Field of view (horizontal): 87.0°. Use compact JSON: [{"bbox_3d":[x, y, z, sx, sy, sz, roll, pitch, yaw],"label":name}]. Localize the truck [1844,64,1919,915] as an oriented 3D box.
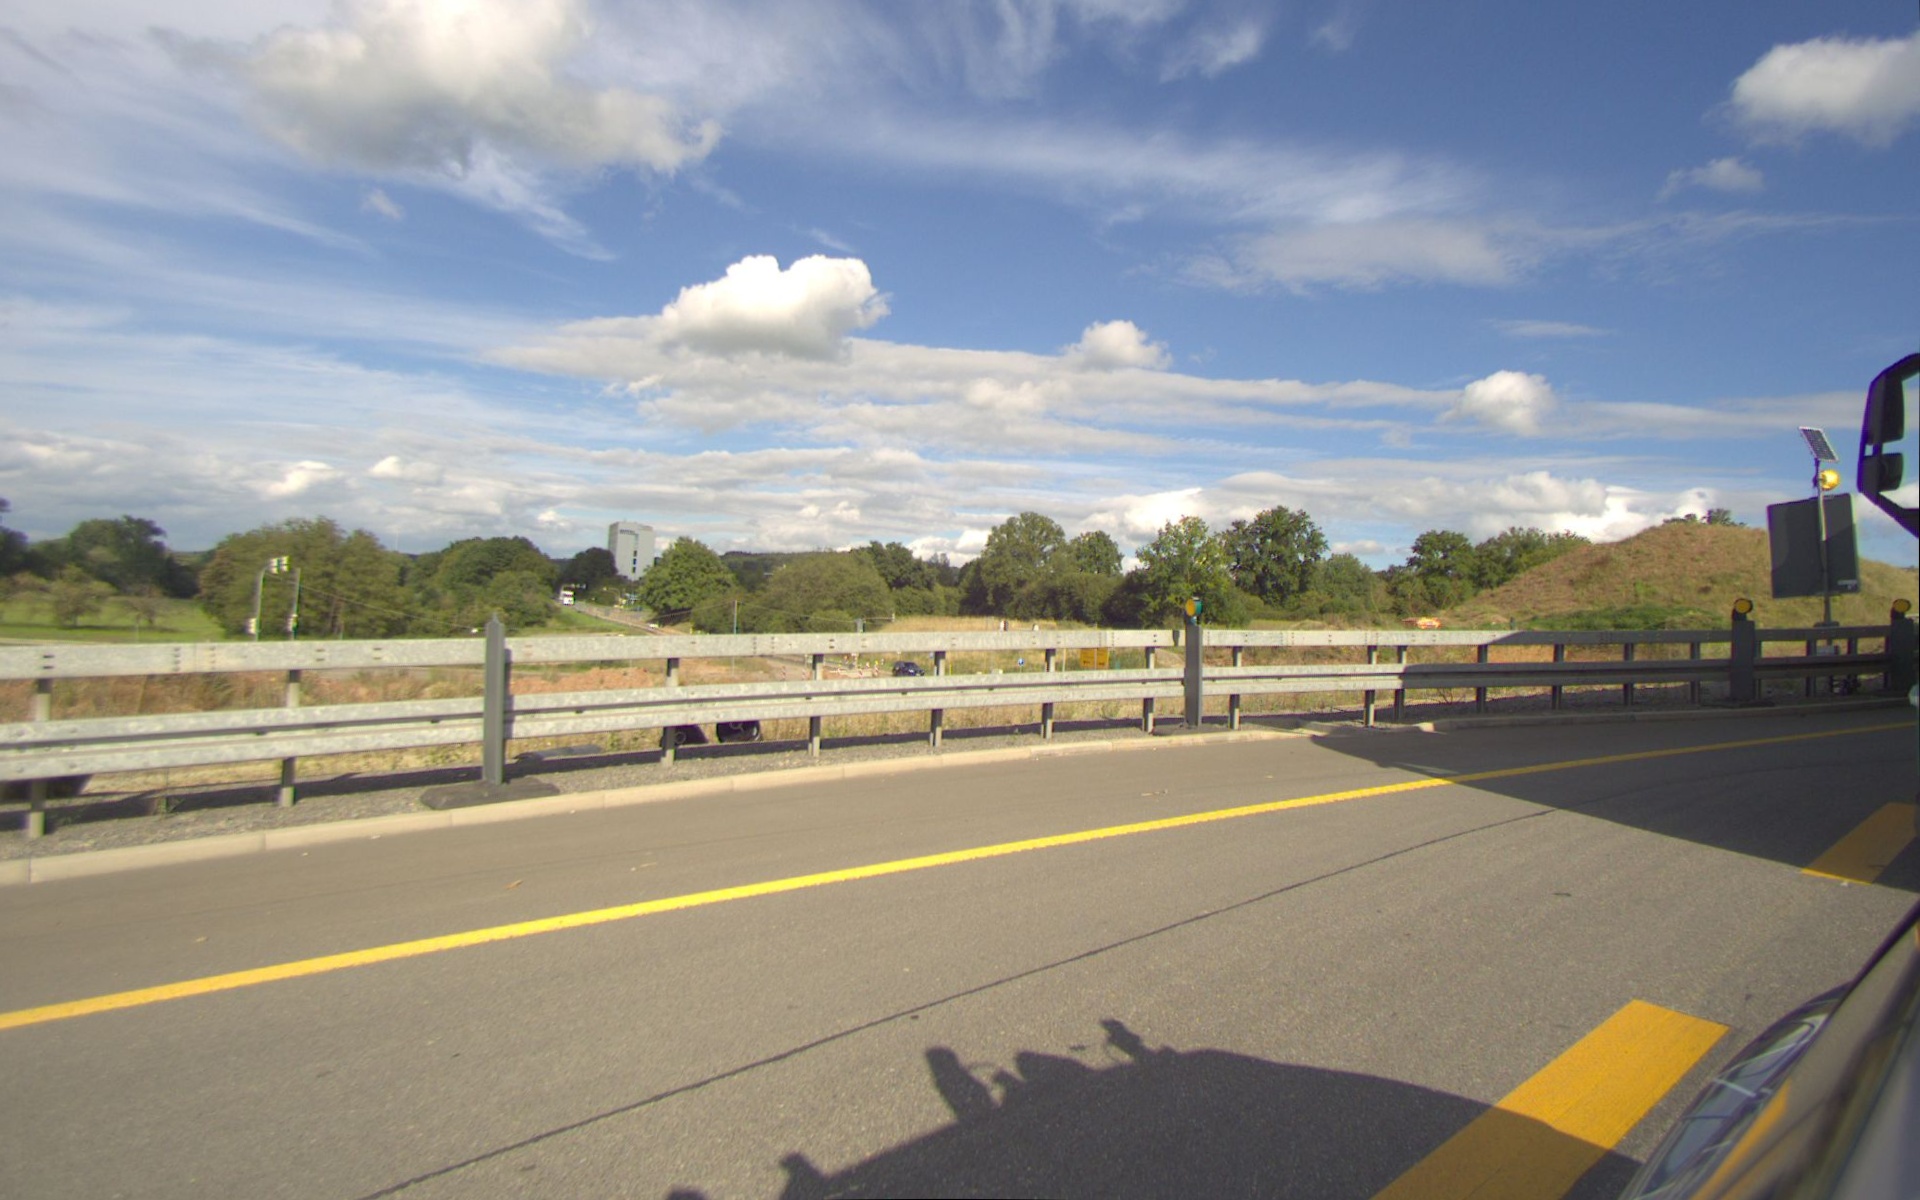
[{"bbox_3d":[8.995,-0.567,6.986,10.132,3.896,2.662,-1,0,-39],"label":"truck"}]
